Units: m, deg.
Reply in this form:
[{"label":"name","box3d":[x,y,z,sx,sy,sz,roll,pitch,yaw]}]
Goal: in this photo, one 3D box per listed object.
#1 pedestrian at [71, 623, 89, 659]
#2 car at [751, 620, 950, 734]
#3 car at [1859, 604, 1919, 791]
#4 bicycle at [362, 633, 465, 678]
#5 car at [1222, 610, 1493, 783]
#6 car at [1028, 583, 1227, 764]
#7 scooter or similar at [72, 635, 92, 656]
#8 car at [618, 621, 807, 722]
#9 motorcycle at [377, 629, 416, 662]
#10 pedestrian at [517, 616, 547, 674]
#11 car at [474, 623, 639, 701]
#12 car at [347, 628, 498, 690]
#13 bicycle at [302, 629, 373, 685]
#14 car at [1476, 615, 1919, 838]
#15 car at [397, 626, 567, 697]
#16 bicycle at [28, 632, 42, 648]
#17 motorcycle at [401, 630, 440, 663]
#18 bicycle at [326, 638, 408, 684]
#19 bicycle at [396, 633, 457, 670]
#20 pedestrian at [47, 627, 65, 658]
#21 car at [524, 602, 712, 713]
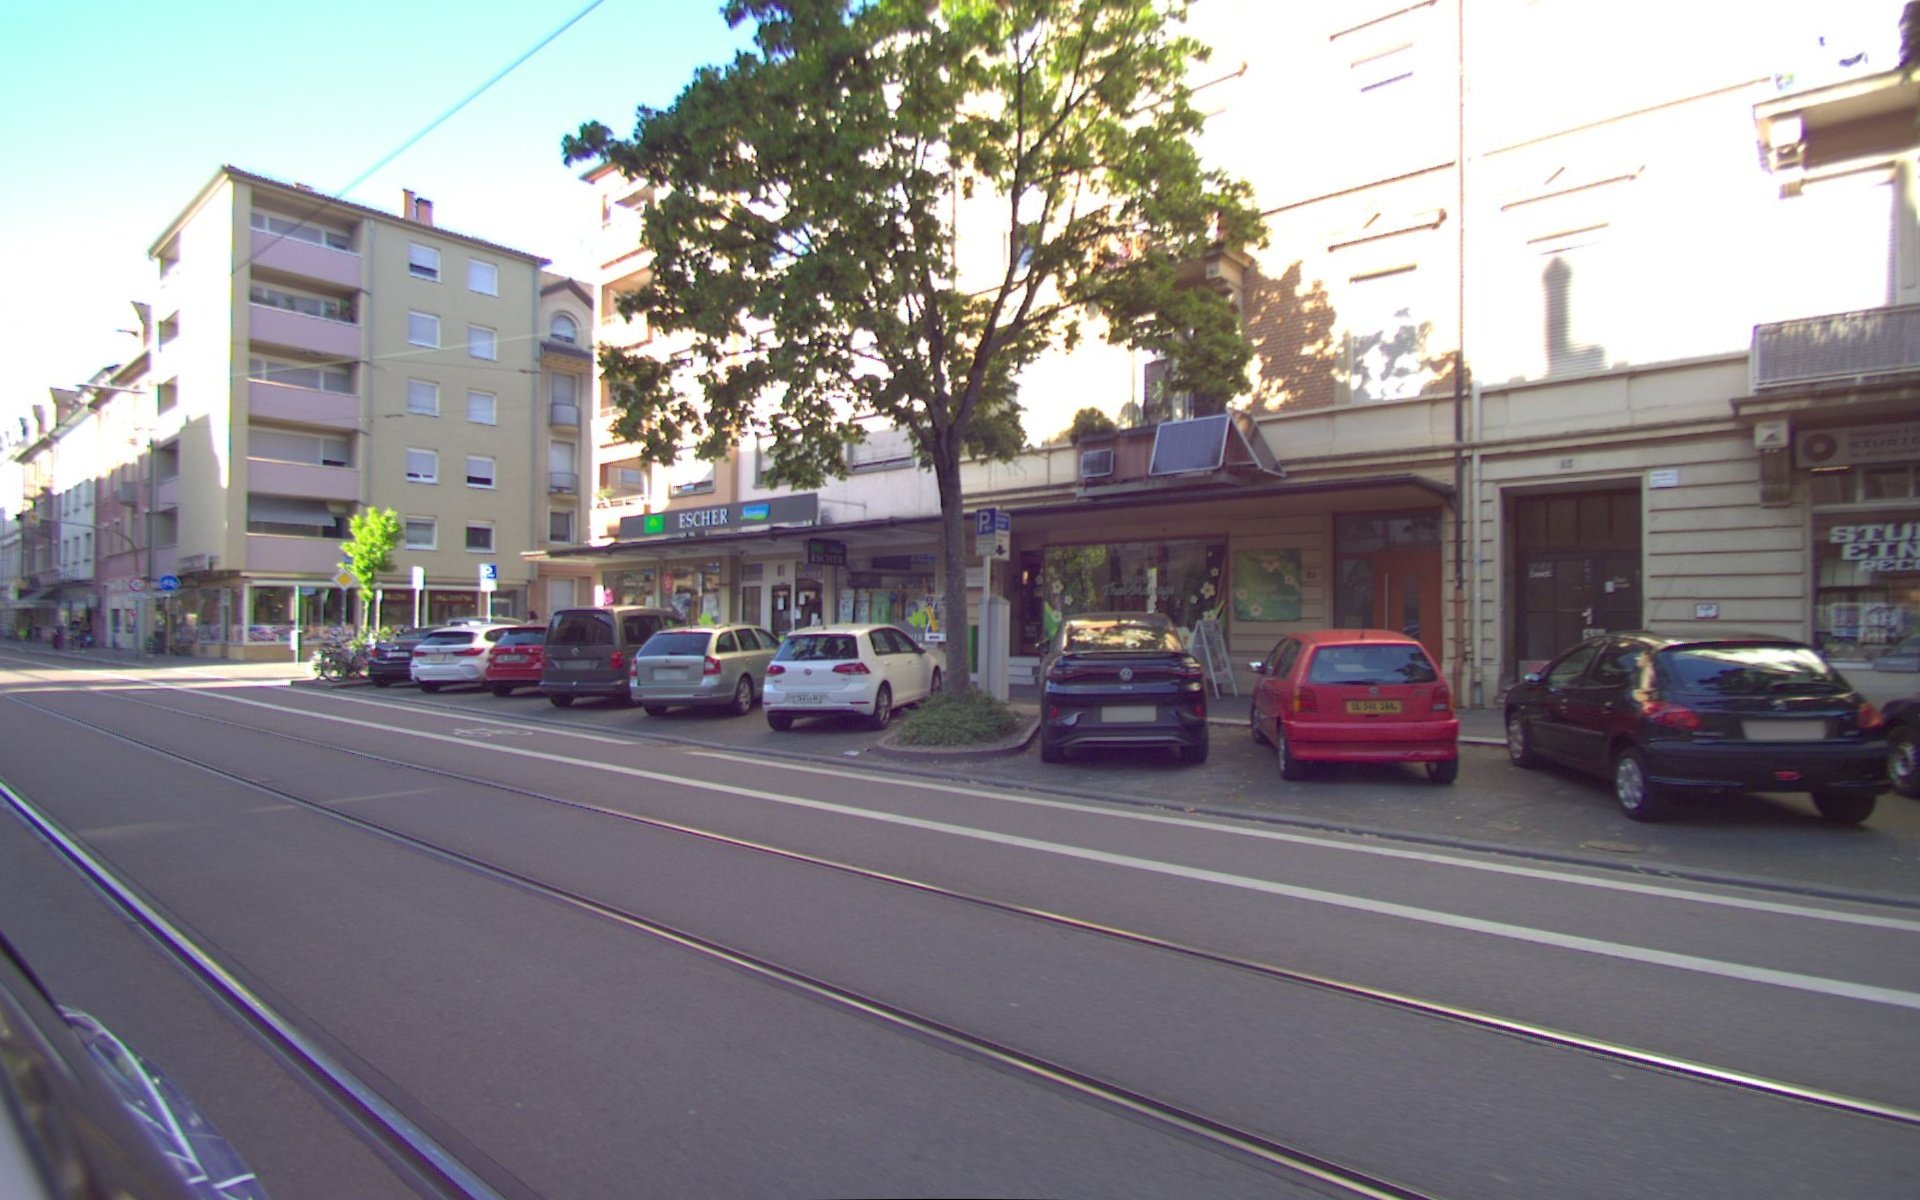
[{"label":"pedestrian","box3d":[-42.279,1.971,48.631,0.616,1.698,0.557,-1,-1,40]},{"label":"car","box3d":[-1.510,1.051,15.367,1.749,1.440,3.826,-1,0,15]},{"label":"car","box3d":[8.315,0.773,6.705,1.788,1.500,3.983,0,0,13]},{"label":"bicycle","box3d":[-15.120,1.533,28.037,2.396,1.118,0.685,-2,-2,-9]},{"label":"car","box3d":[4.020,0.867,10.972,1.846,1.500,3.990,0,0,8]},{"label":"car","box3d":[1.835,0.754,12.345,1.970,1.796,4.361,0,0,4]},{"label":"scooter or similar","box3d":[-46.017,2.399,53.033,1.104,1.069,0.655,-2,-1,42]},{"label":"car","box3d":[-4.093,1.123,17.419,1.681,1.460,4.005,0,0,11]},{"label":"motorcycle","box3d":[-21.551,1.729,38.683,2.176,1.219,0.613,-1,-1,41]},{"label":"pedestrian","box3d":[-12.476,1.307,29.500,0.641,1.665,0.563,-1,-1,41]},{"label":"car","box3d":[-8.403,1.246,21.387,1.631,1.484,3.458,-1,-1,12]},{"label":"car","box3d":[-13.038,1.393,24.757,1.605,1.347,3.464,0,0,7]},{"label":"bicycle","box3d":[-15.435,1.425,25.064,2.431,1.330,0.675,-4,-3,37]},{"label":"car","box3d":[6.286,0.902,9.015,1.785,1.500,3.990,0,0,8]},{"label":"car","box3d":[-10.707,1.326,22.972,1.734,1.410,3.782,0,0,8]},{"label":"bicycle","box3d":[-63.193,2.739,69.130,2.328,1.068,0.420,-1,-1,41]},{"label":"motorcycle","box3d":[-20.873,1.787,39.130,2.176,1.219,0.613,-1,-1,41]},{"label":"bicycle","box3d":[-15.514,1.587,26.493,1.867,1.132,0.681,-3,-2,10]},{"label":"bicycle","box3d":[-17.185,1.669,32.577,2.429,1.118,0.676,-4,-3,35]},{"label":"pedestrian","box3d":[-47.128,2.202,52.736,0.623,1.560,0.629,-1,-1,40]},{"label":"car","box3d":[-6.334,0.985,19.230,1.777,1.798,3.811,0,1,10]}]
